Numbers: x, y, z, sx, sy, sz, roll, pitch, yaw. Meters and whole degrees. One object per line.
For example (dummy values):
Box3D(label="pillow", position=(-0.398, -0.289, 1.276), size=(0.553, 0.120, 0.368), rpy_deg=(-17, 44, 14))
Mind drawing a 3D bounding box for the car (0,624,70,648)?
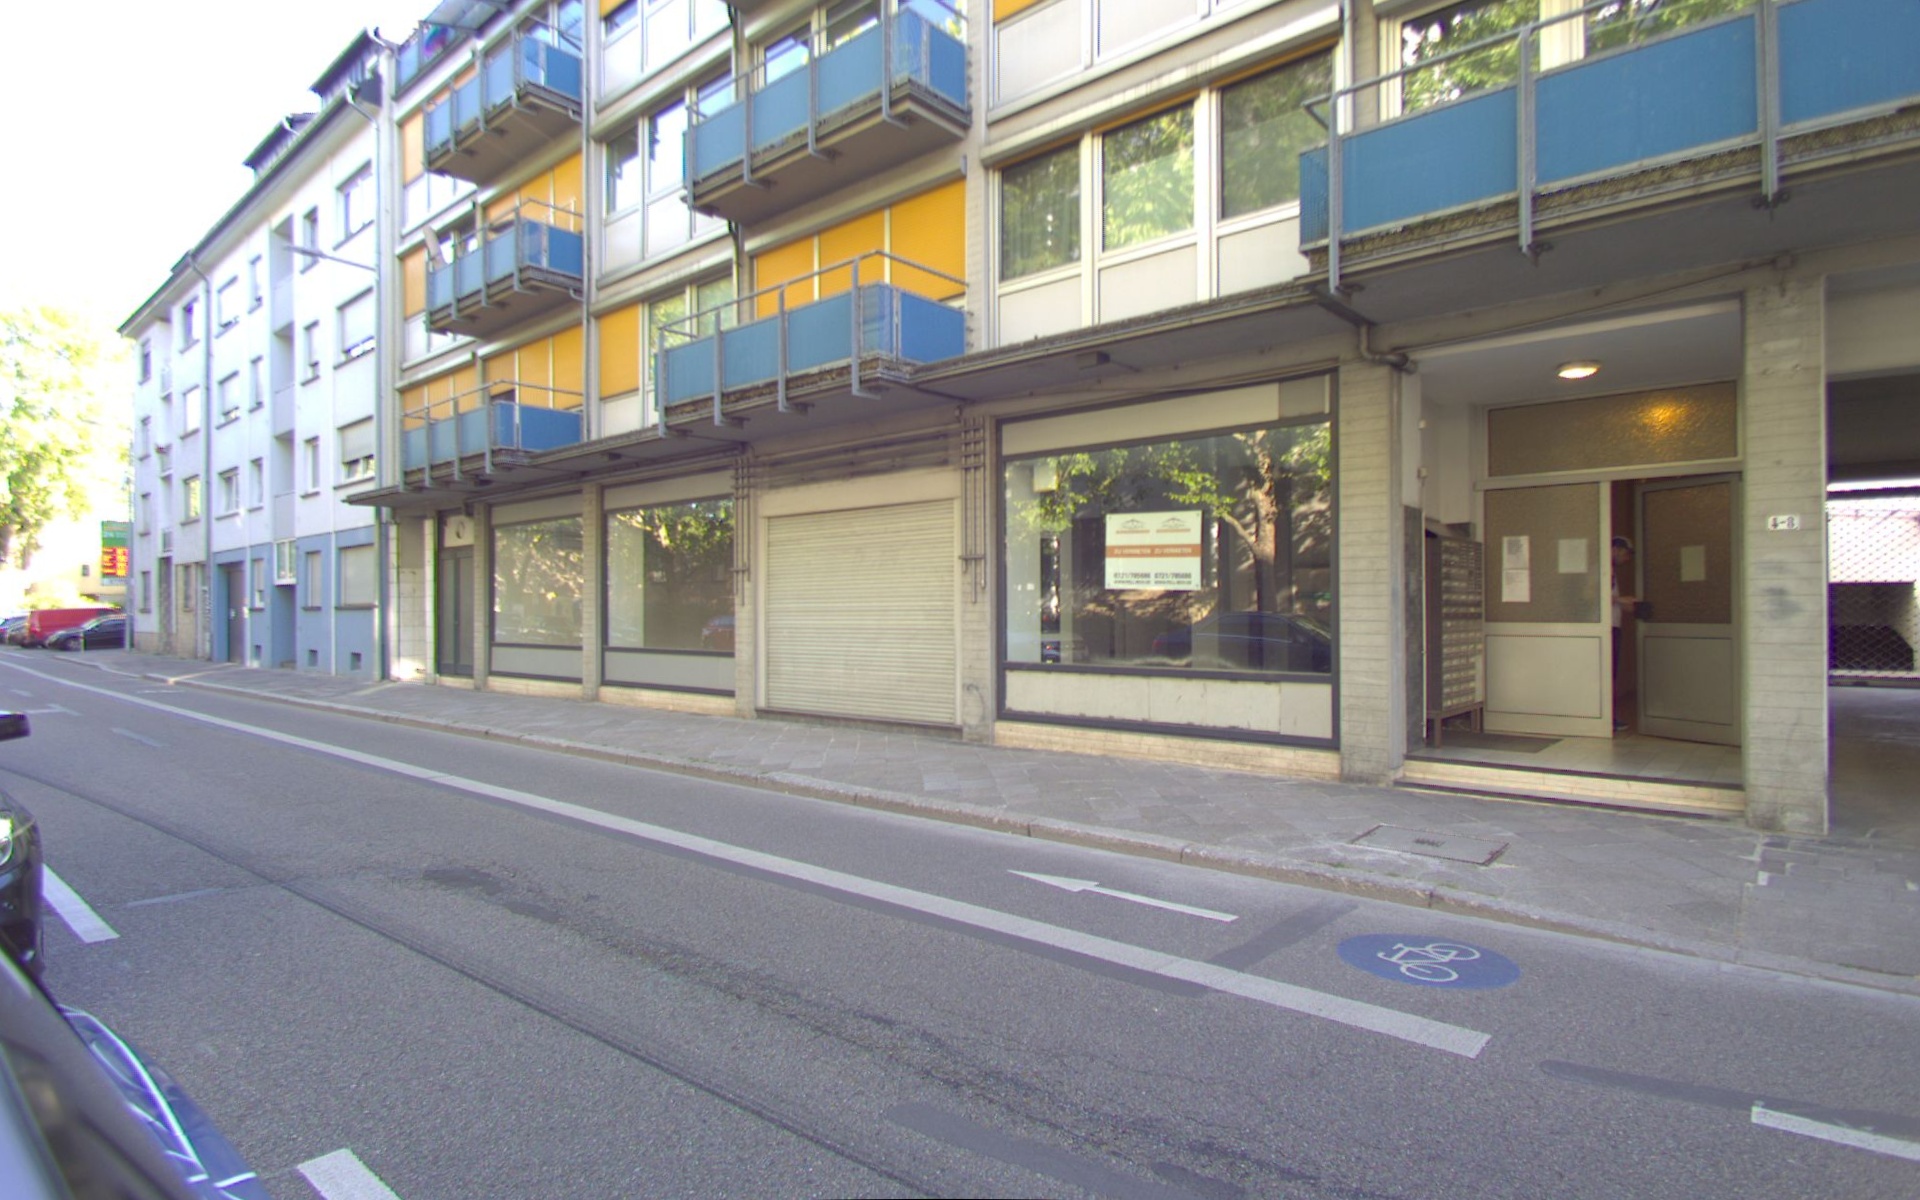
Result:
Box3D(label="car", position=(-57.186, 2.203, 61.996), size=(1.525, 1.343, 3.854), rpy_deg=(-1, 0, 42))

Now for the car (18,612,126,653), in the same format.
Box3D(label="car", position=(-43.706, 1.567, 49.861), size=(1.749, 1.921, 3.854), rpy_deg=(-1, -1, 42))

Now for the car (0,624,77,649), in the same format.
Box3D(label="car", position=(-55.380, 2.179, 60.435), size=(1.525, 1.343, 3.854), rpy_deg=(-1, 0, 42))

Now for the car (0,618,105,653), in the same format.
Box3D(label="car", position=(-46.053, 1.782, 51.399), size=(1.603, 1.598, 3.854), rpy_deg=(-1, 0, 42))

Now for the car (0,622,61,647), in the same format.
Box3D(label="car", position=(-59.216, 2.191, 63.754), size=(1.539, 1.451, 3.733), rpy_deg=(-1, 0, 42))

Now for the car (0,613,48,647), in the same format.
Box3D(label="car", position=(-62.715, 1.970, 66.584), size=(1.725, 2.193, 3.854), rpy_deg=(-1, 0, 42))

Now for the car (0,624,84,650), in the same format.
Box3D(label="car", position=(-53.364, 2.118, 58.556), size=(1.594, 1.385, 3.854), rpy_deg=(-1, 0, 42))

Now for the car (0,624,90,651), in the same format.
Box3D(label="car", position=(-51.850, 2.098, 57.216), size=(1.594, 1.385, 3.854), rpy_deg=(-1, 0, 42))

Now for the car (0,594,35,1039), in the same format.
Box3D(label="car", position=(-5.429, 0.766, 4.206), size=(4.291, 1.515, 1.805), rpy_deg=(-1, 0, 40))

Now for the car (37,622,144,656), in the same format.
Box3D(label="car", position=(-39.795, 1.748, 46.347), size=(1.534, 1.420, 3.551), rpy_deg=(-2, -1, 42))

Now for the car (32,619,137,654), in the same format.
Box3D(label="car", position=(-41.513, 1.702, 48.044), size=(1.602, 1.521, 3.620), rpy_deg=(-1, 0, 42))
